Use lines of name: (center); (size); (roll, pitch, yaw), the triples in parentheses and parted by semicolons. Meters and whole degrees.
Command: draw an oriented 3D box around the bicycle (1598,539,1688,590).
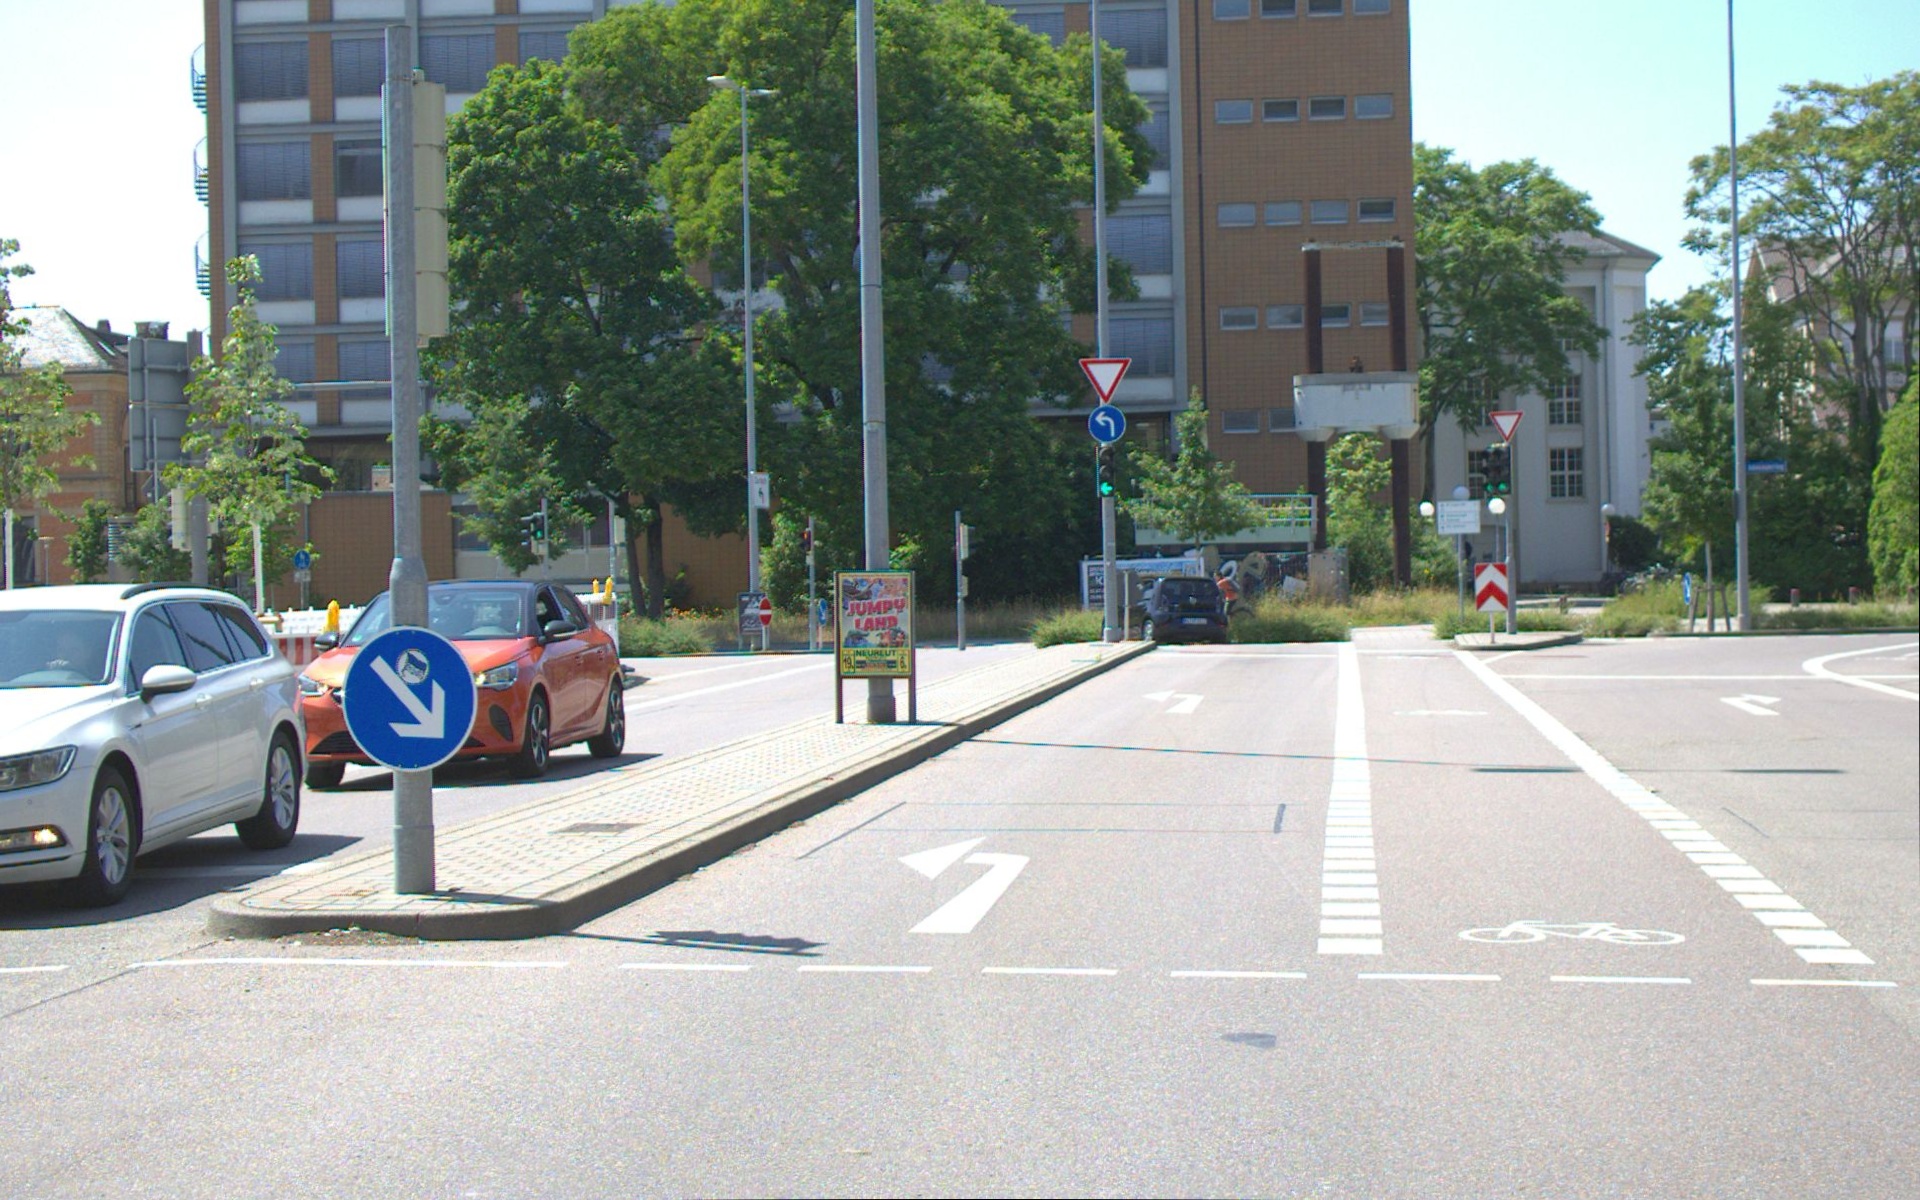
bicycle: (27.438, -1.443, 138.150); (3.448, 2.007, 0.760); (1, 0, 9)

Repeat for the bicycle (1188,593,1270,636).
bicycle: (6.799, 0.368, 86.886); (1.990, 1.042, 0.559); (-1, 2, -3)

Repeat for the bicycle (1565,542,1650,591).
bicycle: (27.163, -1.426, 144.231); (3.448, 2.007, 0.760); (1, 0, 9)

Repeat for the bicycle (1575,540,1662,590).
bicycle: (27.102, -1.435, 141.561); (3.448, 2.007, 0.760); (1, 0, 9)

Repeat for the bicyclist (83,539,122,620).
bicyclist: (-16.927, -0.403, 67.872); (0.497, 1.574, 0.530); (-2, -1, 24)

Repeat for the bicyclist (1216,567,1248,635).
bicyclist: (6.863, 0.022, 86.878); (0.700, 1.710, 0.552); (-1, 2, -7)

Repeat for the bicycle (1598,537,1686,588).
bicycle: (27.717, -1.531, 139.776); (3.448, 2.007, 0.760); (1, 0, 9)

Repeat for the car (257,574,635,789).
car: (-3.671, 0.541, 25.257); (1.688, 1.373, 4.012); (-3, 0, 7)

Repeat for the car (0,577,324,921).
car: (-4.640, 0.659, 16.907); (1.816, 1.423, 4.426); (-3, 1, 5)

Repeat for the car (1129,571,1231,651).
car: (4.400, 0.195, 69.204); (1.613, 1.547, 3.775); (1, 1, -3)

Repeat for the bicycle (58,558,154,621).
bicycle: (-16.859, -0.199, 67.851); (1.894, 1.176, 0.523); (-2, -1, 24)
